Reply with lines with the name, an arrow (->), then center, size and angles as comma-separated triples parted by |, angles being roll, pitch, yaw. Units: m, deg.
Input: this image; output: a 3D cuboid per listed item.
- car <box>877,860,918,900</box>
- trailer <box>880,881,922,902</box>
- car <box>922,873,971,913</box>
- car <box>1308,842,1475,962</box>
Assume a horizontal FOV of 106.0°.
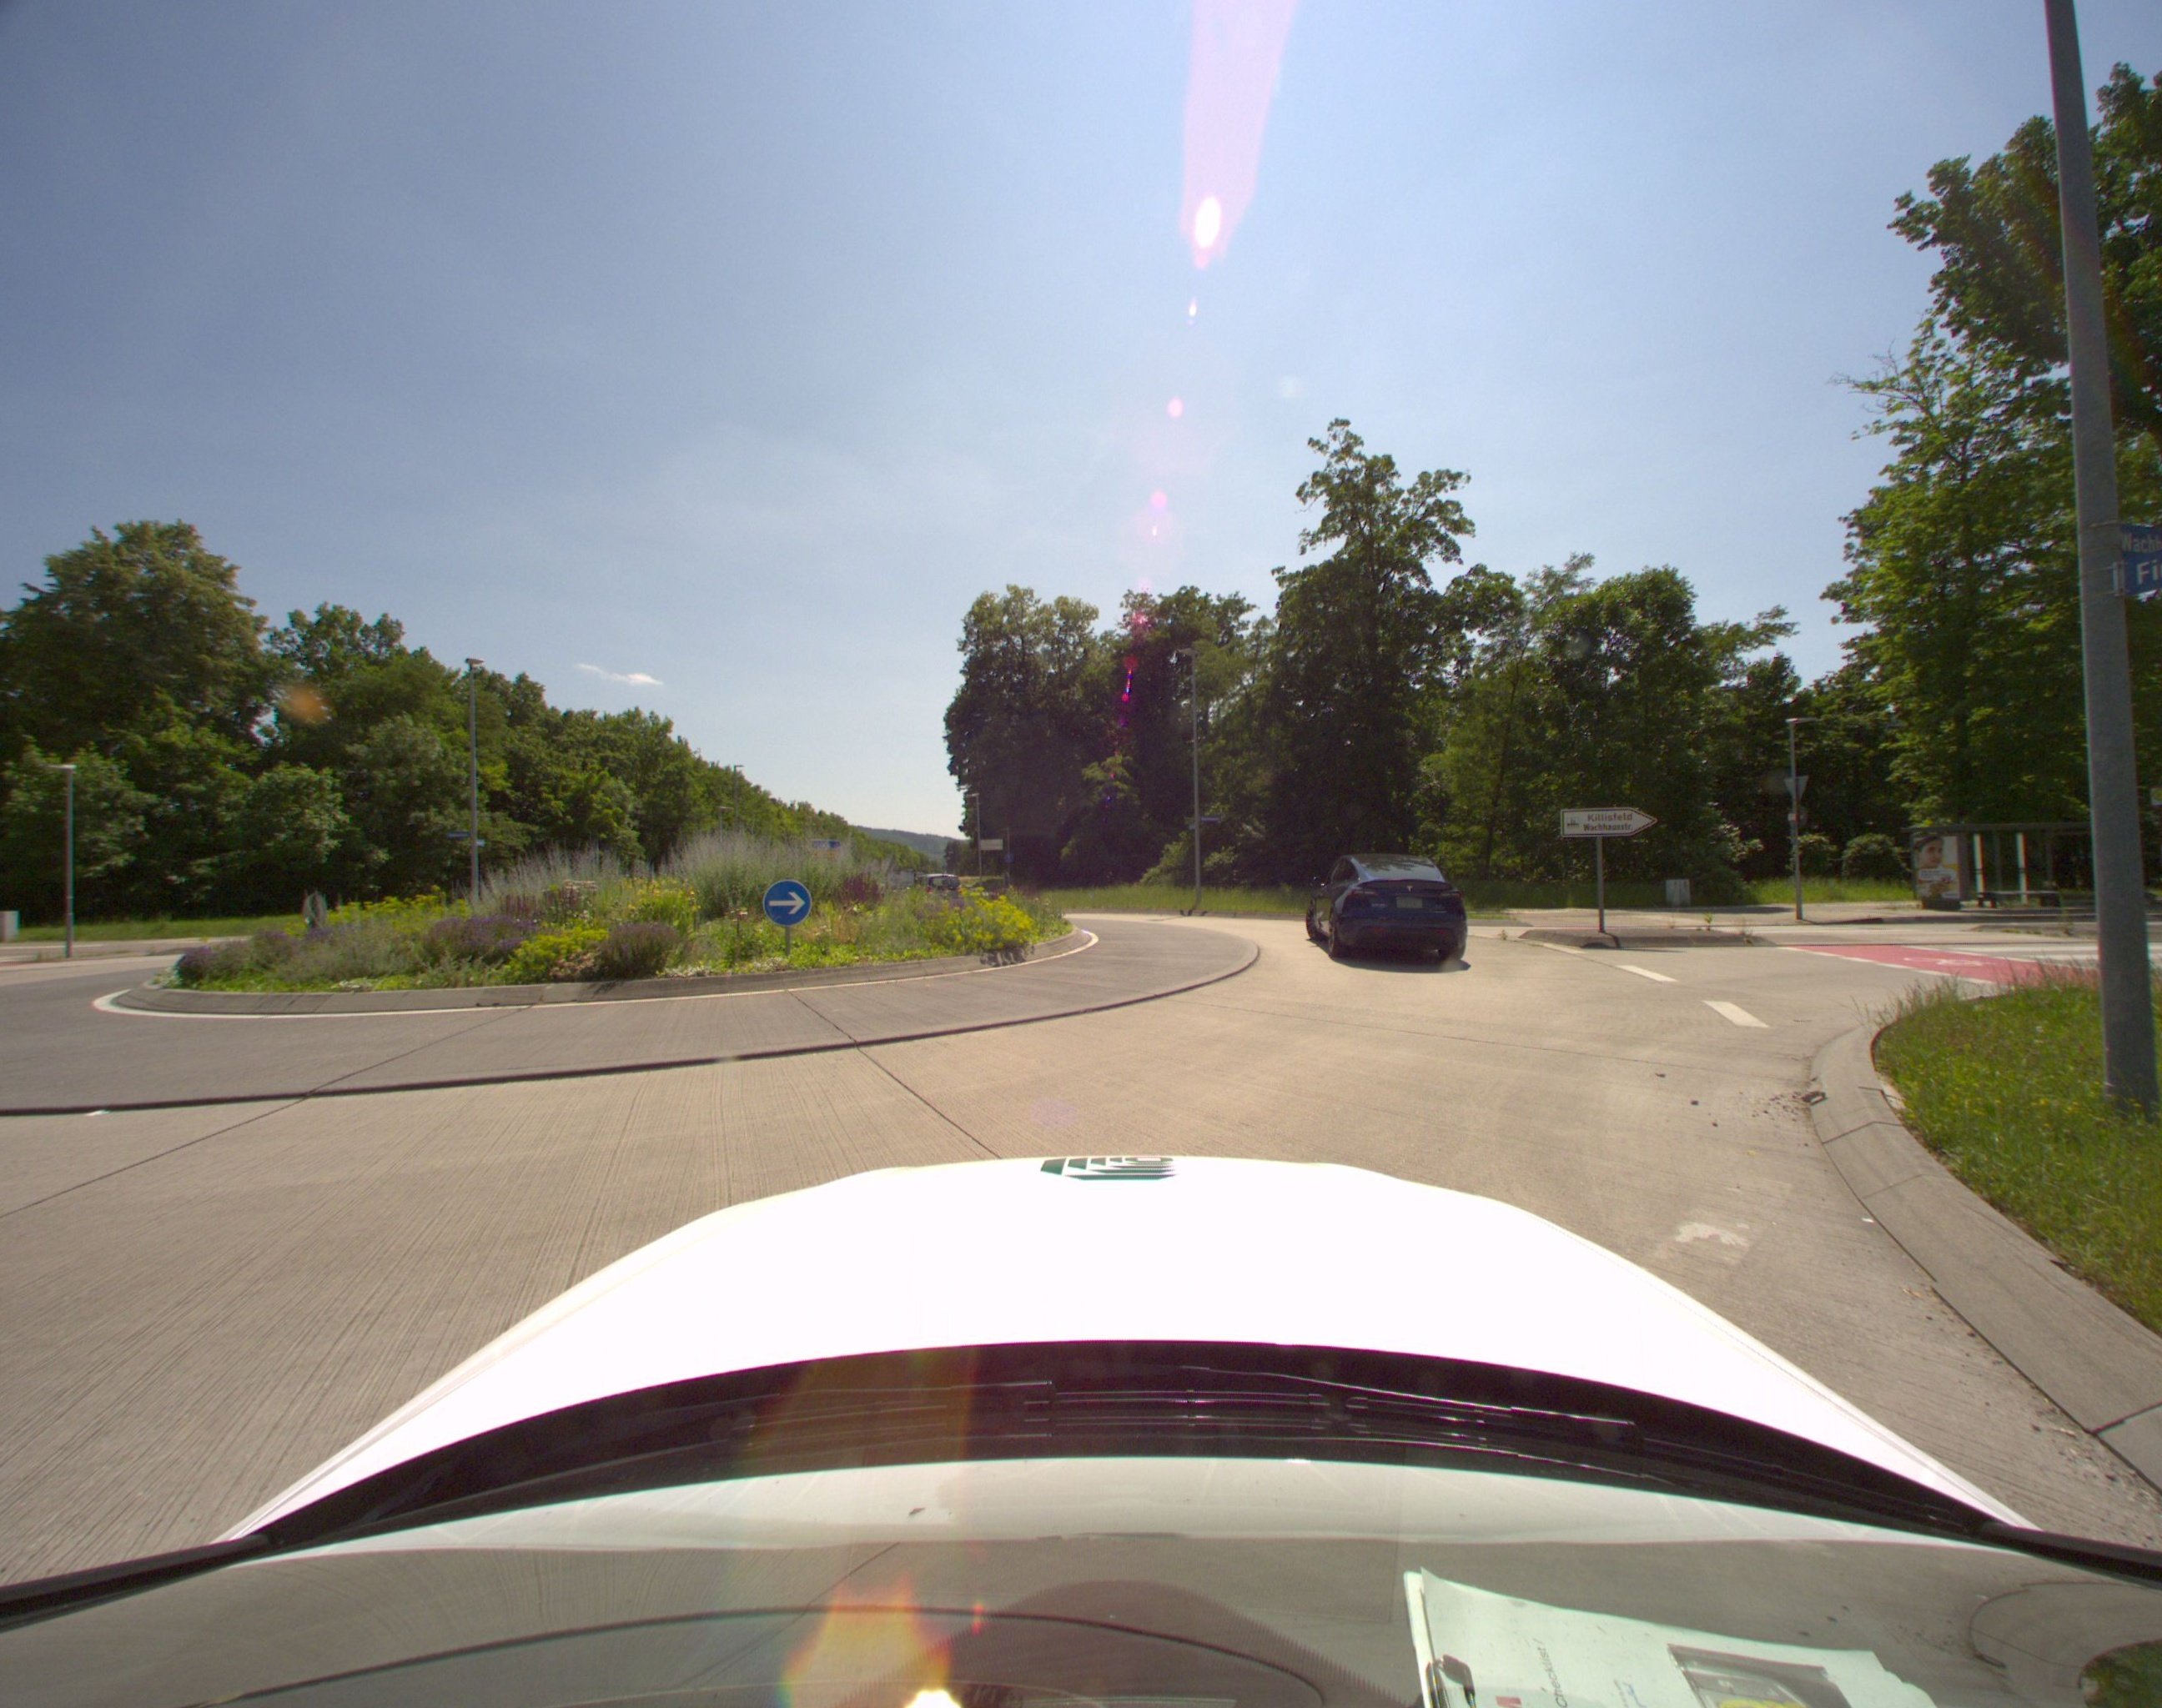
car -> -11.160, 1.559, 49.322 | 2.171, 2.316, 4.953 | 0, -2, -16
trailer -> -10.054, 2.060, 45.348 | 2.126, 1.097, 3.336 | 0, -2, -16
car -> -5.790, 1.619, 34.678 | 1.787, 1.607, 4.107 | 0, -2, -14
car -> 4.974, 0.716, 13.741 | 1.980, 1.640, 4.774 | -1, -1, 13
